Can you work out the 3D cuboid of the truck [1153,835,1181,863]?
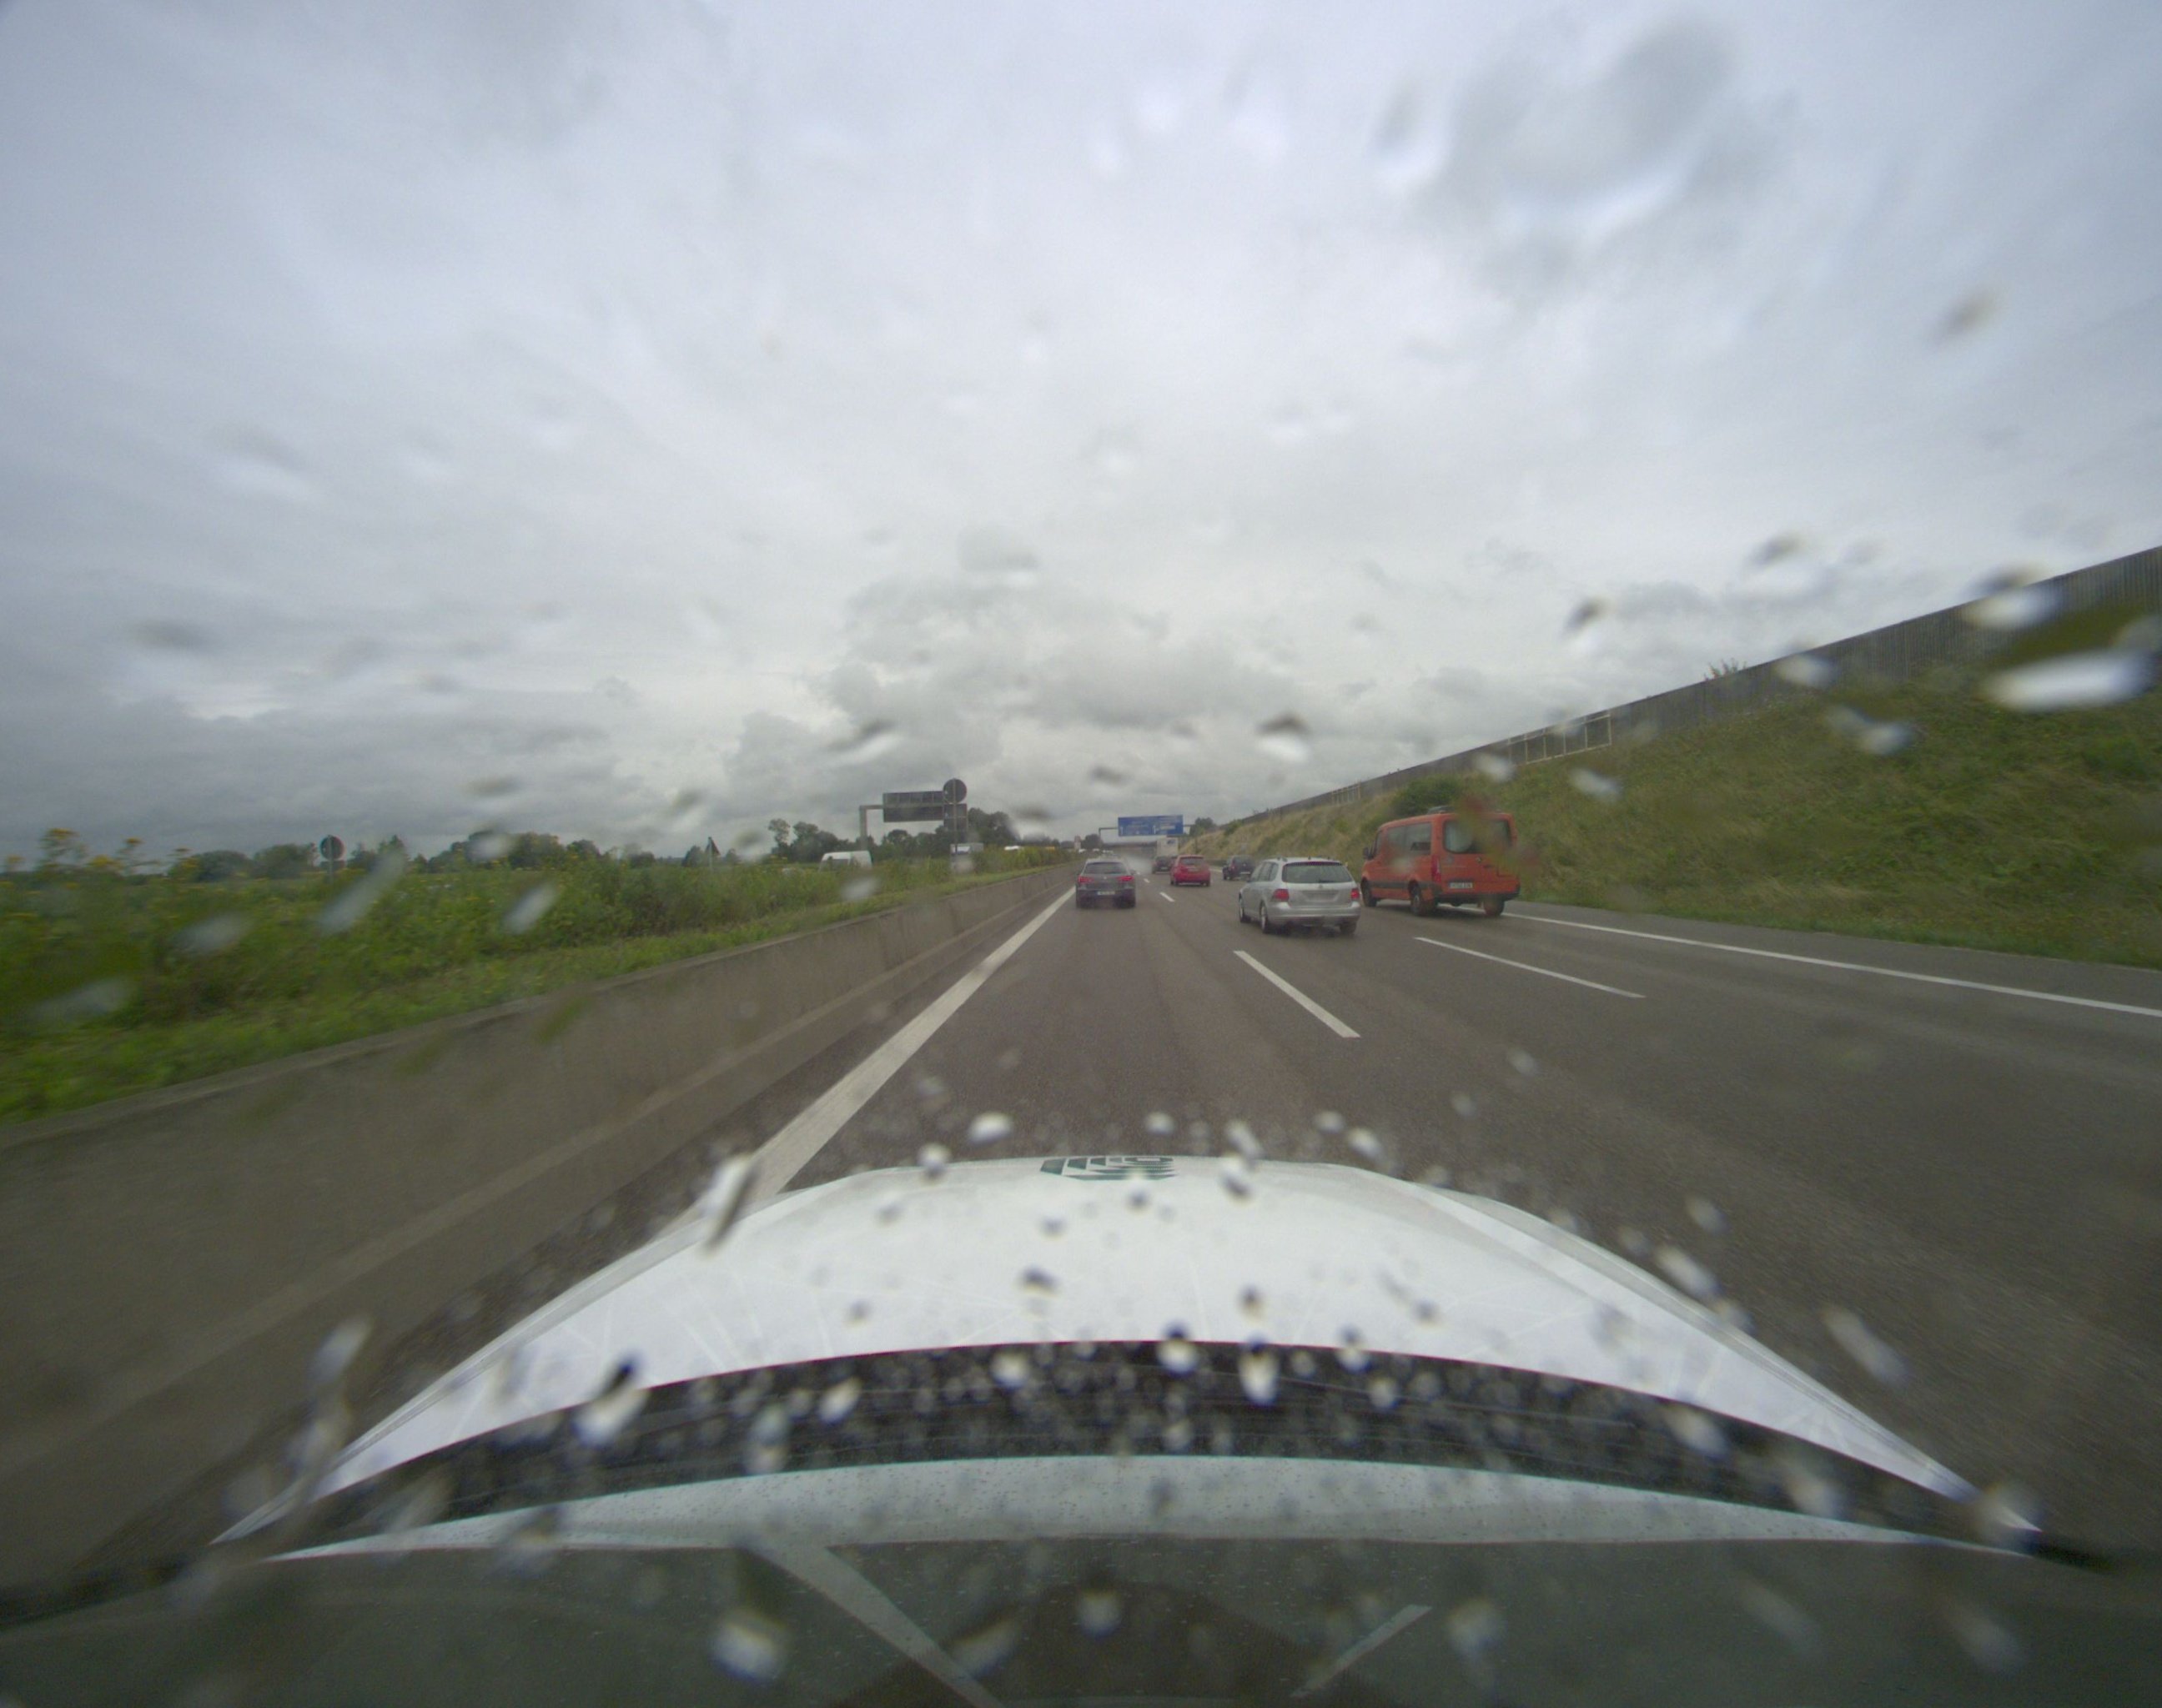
[{"bbox_3d":[13.844,-0.662,132.782,3.270,4.295,19.044,0,0,3],"label":"truck"}]

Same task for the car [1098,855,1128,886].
[{"bbox_3d":[1.932,0.966,48.678,1.747,1.750,4.003,0,-1,3],"label":"car"}]

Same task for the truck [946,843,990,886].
[{"bbox_3d":[-12.808,1.137,93.368,3.212,4.649,9.681,0,-1,3],"label":"truck"}]

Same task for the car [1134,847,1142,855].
[{"bbox_3d":[15.145,-0.807,217.031,1.987,2.013,4.000,-2,0,0],"label":"car"}]

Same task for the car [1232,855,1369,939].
[{"bbox_3d":[4.282,0.757,16.574,1.735,1.425,4.520,-2,0,3],"label":"car"}]

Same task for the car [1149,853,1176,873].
[{"bbox_3d":[6.430,0.675,64.615,1.913,1.522,4.626,-1,0,3],"label":"car"}]

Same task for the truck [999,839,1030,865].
[{"bbox_3d":[-10.595,-0.222,130.940,3.170,3.967,10.822,0,-1,4],"label":"truck"}]

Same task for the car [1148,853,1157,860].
[{"bbox_3d":[19.396,0.754,221.844,1.987,1.860,4.391,-2,0,1],"label":"car"}]

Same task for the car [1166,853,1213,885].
[{"bbox_3d":[5.240,0.678,39.858,1.883,1.446,4.688,-1,0,2],"label":"car"}]

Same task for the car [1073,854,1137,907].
[{"bbox_3d":[0.750,0.745,24.560,1.762,1.467,4.002,0,-1,2],"label":"car"}]

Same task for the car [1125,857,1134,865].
[{"bbox_3d":[10.026,1.456,168.490,1.745,1.517,4.001,-2,0,1],"label":"car"}]

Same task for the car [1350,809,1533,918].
[{"bbox_3d":[8.824,0.197,20.714,2.078,2.315,6.184,-1,0,2],"label":"car"}]

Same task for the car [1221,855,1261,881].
[{"bbox_3d":[9.109,0.787,46.518,1.695,1.401,3.878,0,-1,3],"label":"car"}]

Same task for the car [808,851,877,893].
[{"bbox_3d":[-15.475,1.138,53.402,2.236,2.530,6.910,0,-1,2],"label":"car"}]

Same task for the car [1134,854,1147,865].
[{"bbox_3d":[9.673,0.894,132.784,1.839,1.687,4.001,0,-1,2],"label":"car"}]

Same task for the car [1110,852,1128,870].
[{"bbox_3d":[3.952,0.708,84.482,1.698,1.796,3.857,-3,0,2],"label":"car"}]

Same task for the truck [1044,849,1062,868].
[{"bbox_3d":[-6.629,1.016,195.667,3.398,4.364,11.000,0,-1,3],"label":"truck"}]
